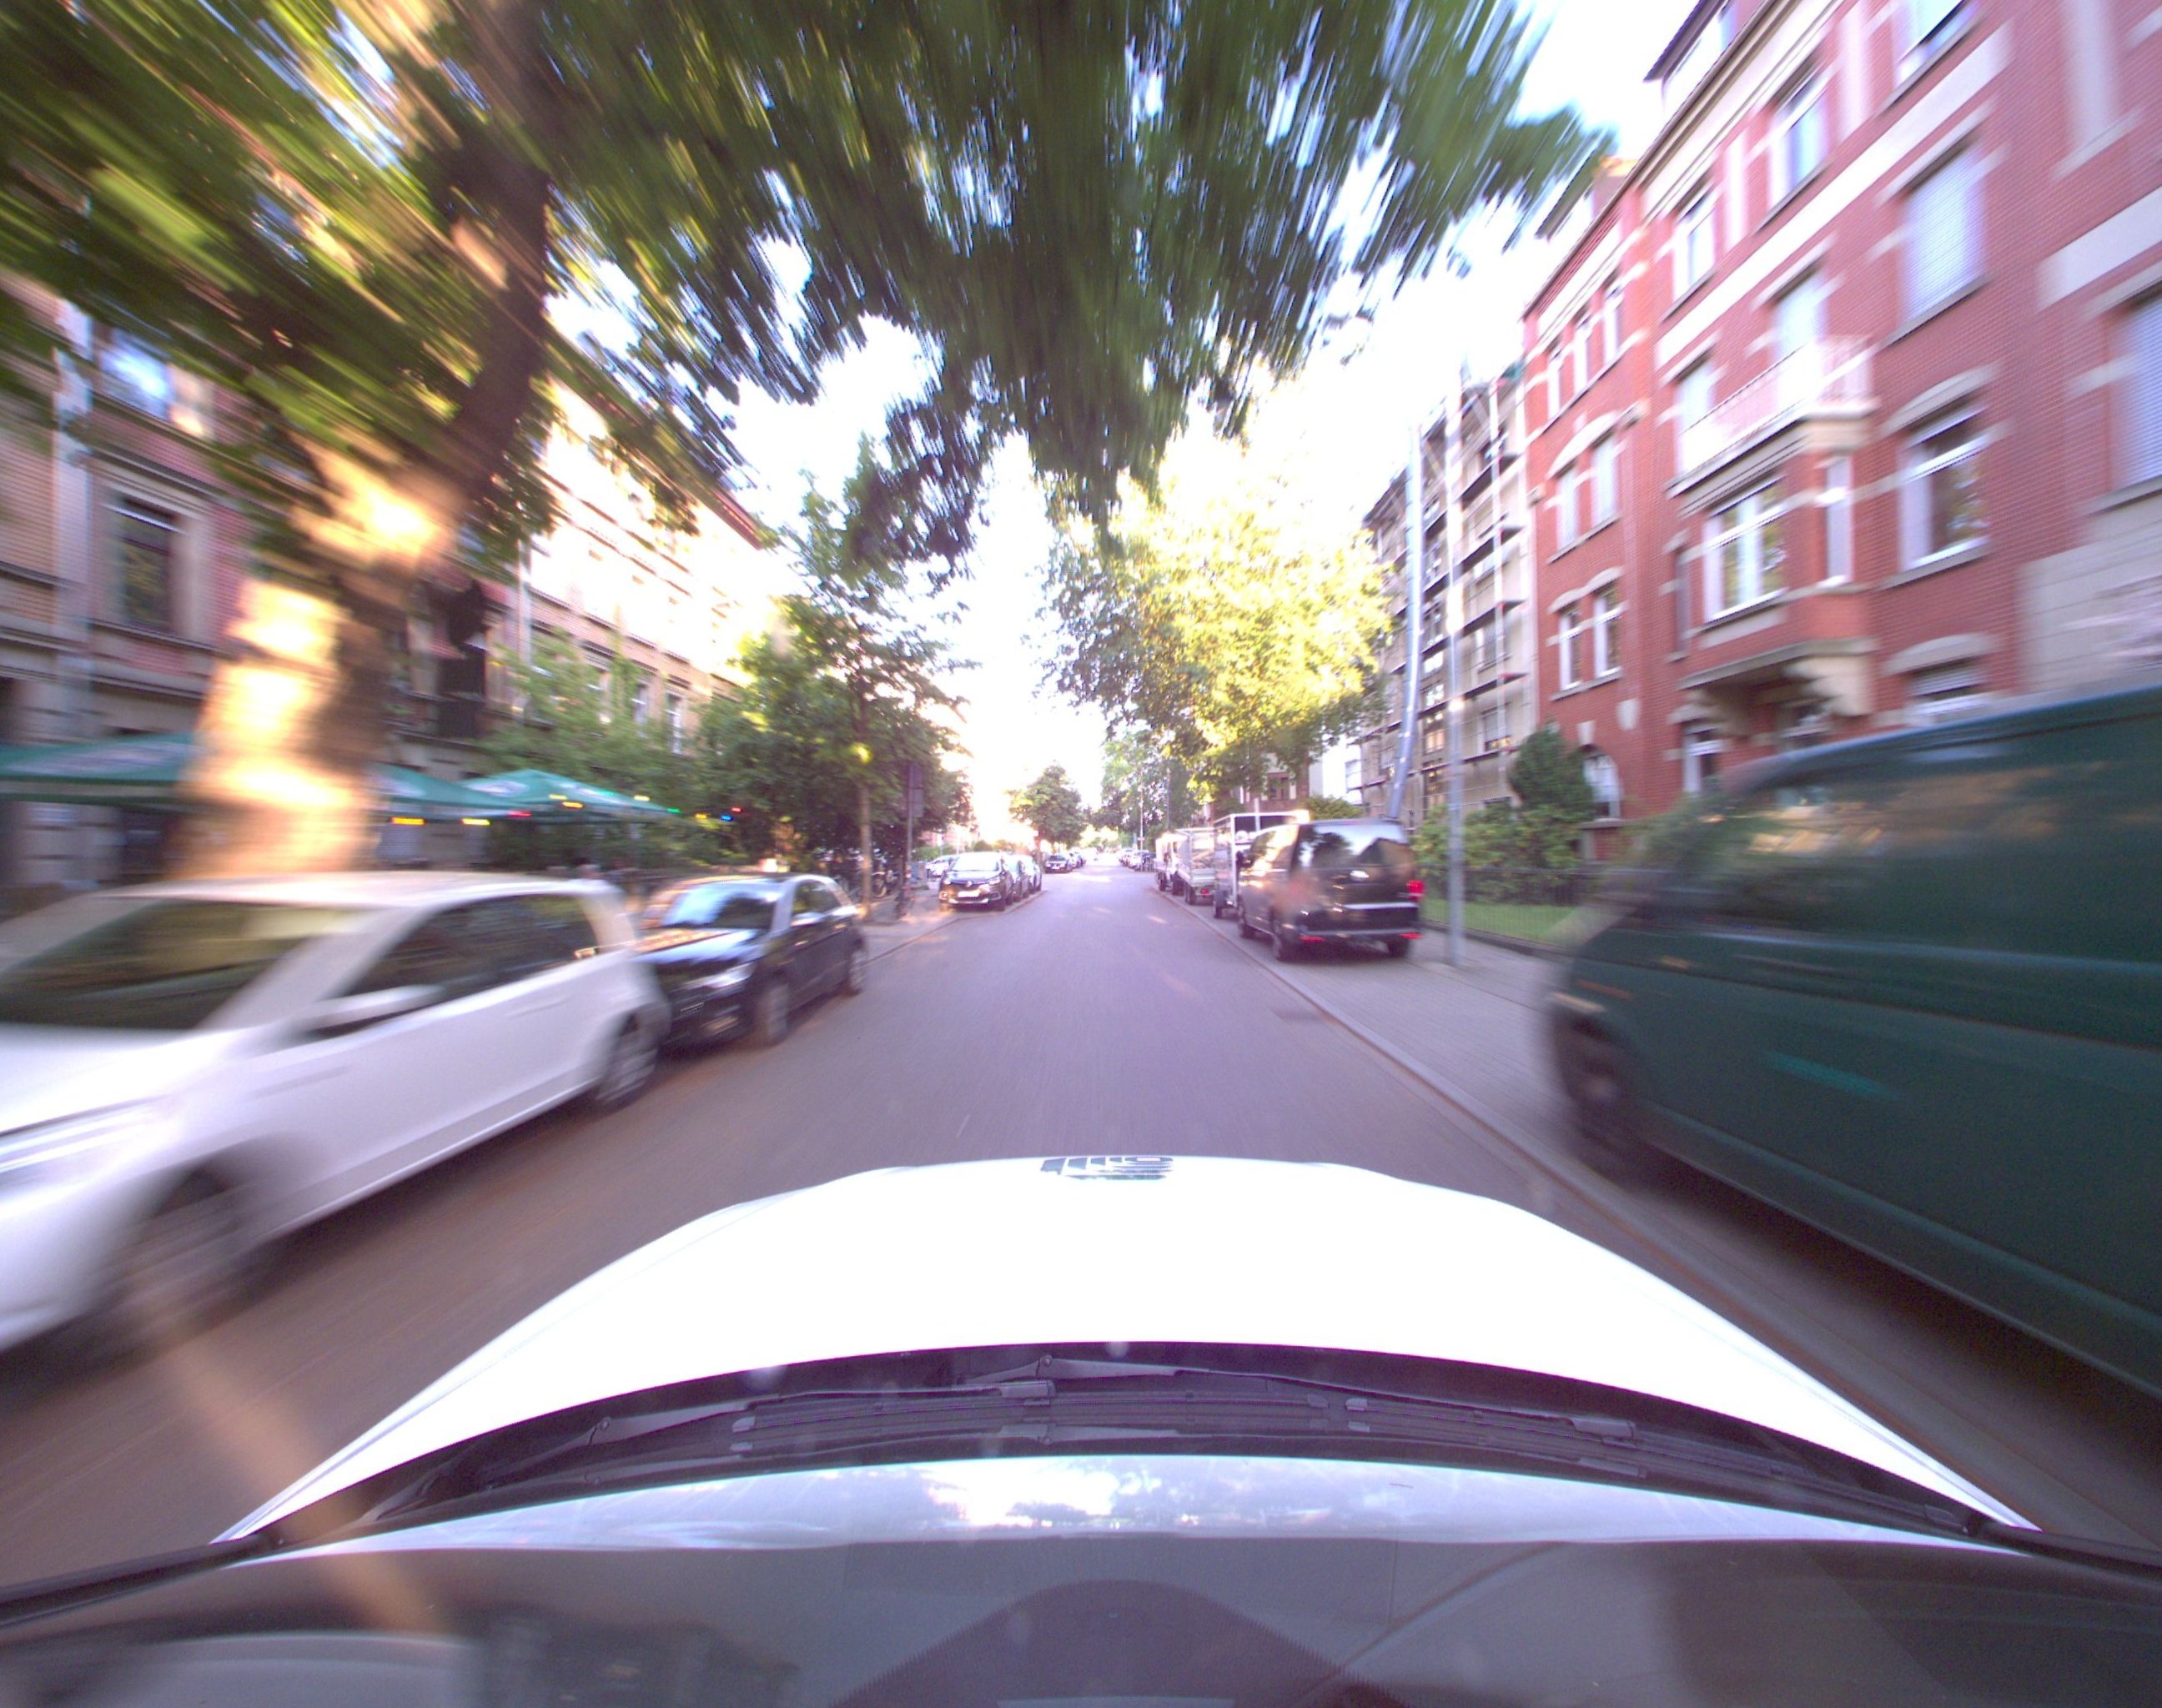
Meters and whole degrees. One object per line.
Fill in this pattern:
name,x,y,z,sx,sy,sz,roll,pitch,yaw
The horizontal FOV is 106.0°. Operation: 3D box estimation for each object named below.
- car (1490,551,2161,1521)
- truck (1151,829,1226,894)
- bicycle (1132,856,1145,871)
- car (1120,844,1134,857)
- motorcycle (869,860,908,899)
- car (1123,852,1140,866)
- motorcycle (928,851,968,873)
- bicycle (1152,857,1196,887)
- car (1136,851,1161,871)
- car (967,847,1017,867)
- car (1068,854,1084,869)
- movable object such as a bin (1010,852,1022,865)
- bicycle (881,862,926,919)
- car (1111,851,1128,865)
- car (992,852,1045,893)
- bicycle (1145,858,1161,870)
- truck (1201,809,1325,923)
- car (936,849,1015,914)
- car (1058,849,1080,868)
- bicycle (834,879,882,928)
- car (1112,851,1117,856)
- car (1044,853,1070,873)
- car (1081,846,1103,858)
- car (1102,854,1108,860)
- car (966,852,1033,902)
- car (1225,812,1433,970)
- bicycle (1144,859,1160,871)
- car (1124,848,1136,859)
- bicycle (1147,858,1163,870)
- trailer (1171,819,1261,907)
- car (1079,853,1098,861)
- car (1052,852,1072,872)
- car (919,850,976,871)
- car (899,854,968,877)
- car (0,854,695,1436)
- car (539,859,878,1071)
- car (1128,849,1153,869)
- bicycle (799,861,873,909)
car,3.252,0.345,2.152,1.947,2.058,4.832,-3,1,2
truck,4.021,0.286,31.678,1.971,2.244,6.774,-1,0,0
bicycle,4.615,0.725,65.102,0.439,1.173,1.646,-1,0,27
car,6.673,-0.490,117.926,1.675,1.941,3.879,0,0,-1
motorcycle,-6.631,0.844,28.201,0.580,1.156,2.893,2,1,2
car,5.508,0.565,89.410,1.680,1.441,4.211,-3,0,1
motorcycle,-9.968,0.587,61.037,2.835,1.638,0.677,-1,0,9
bicycle,4.238,0.827,37.243,1.899,1.258,0.406,-3,0,-5
car,5.644,0.578,68.294,1.682,1.592,3.655,-1,0,-2
car,-7.705,0.272,70.712,4.079,1.527,1.709,2,0,0
car,-0.556,0.822,91.182,1.709,1.566,3.789,0,0,2
movable object such as a bin,-6.905,0.493,86.231,1.007,1.321,1.007,2,1,6
bicycle,-4.279,0.851,19.734,0.480,1.255,1.902,3,1,4
car,4.572,0.467,97.101,1.682,1.606,3.938,0,0,-1
car,-2.513,0.692,33.685,1.684,1.502,4.739,2,1,1
bicycle,5.720,0.794,64.244,1.228,0.947,0.328,-1,1,-21
truck,4.097,0.212,19.134,1.946,2.246,4.647,-3,1,2
car,-2.858,0.686,22.838,1.685,1.563,4.400,2,1,-1
car,-1.137,0.409,79.547,1.914,1.717,4.429,0,0,2
bicycle,-4.814,1.046,17.653,0.414,0.929,1.736,2,1,4
car,10.573,-0.071,256.961,1.709,1.596,3.484,0,0,2
car,-1.821,0.664,63.045,1.609,1.470,3.966,0,0,4
car,2.173,-0.436,160.495,4.336,2.318,1.745,0,0,0
car,6.526,0.779,222.269,1.806,1.596,3.484,0,0,2
car,-2.687,0.740,27.715,1.683,1.502,4.403,2,0,1
car,3.629,0.451,12.867,1.833,1.942,4.614,-3,1,1
bicycle,5.659,0.861,64.860,1.230,0.951,0.327,-2,1,-26
car,6.849,-0.112,113.908,1.534,1.521,3.430,0,0,-1
bicycle,5.769,0.778,63.542,1.228,0.957,0.328,-1,1,-21
trailer,3.948,0.222,24.589,1.947,2.295,4.646,-3,0,1
car,1.485,0.591,157.762,3.609,1.461,1.605,0,0,-3
car,-1.579,0.612,68.052,1.591,1.603,3.742,0,0,-2
car,-9.506,0.442,58.004,3.541,1.447,1.823,0,1,10
car,-9.578,0.733,52.999,4.067,1.447,1.714,0,1,10
car,-3.608,0.785,3.976,1.545,1.485,3.695,2,0,2
car,-3.245,0.840,7.931,1.546,1.485,3.694,-1,0,0
car,5.366,0.458,74.070,1.793,1.711,4.599,-1,0,-1
bicycle,-7.058,0.868,23.645,0.600,1.284,2.499,-1,0,22
